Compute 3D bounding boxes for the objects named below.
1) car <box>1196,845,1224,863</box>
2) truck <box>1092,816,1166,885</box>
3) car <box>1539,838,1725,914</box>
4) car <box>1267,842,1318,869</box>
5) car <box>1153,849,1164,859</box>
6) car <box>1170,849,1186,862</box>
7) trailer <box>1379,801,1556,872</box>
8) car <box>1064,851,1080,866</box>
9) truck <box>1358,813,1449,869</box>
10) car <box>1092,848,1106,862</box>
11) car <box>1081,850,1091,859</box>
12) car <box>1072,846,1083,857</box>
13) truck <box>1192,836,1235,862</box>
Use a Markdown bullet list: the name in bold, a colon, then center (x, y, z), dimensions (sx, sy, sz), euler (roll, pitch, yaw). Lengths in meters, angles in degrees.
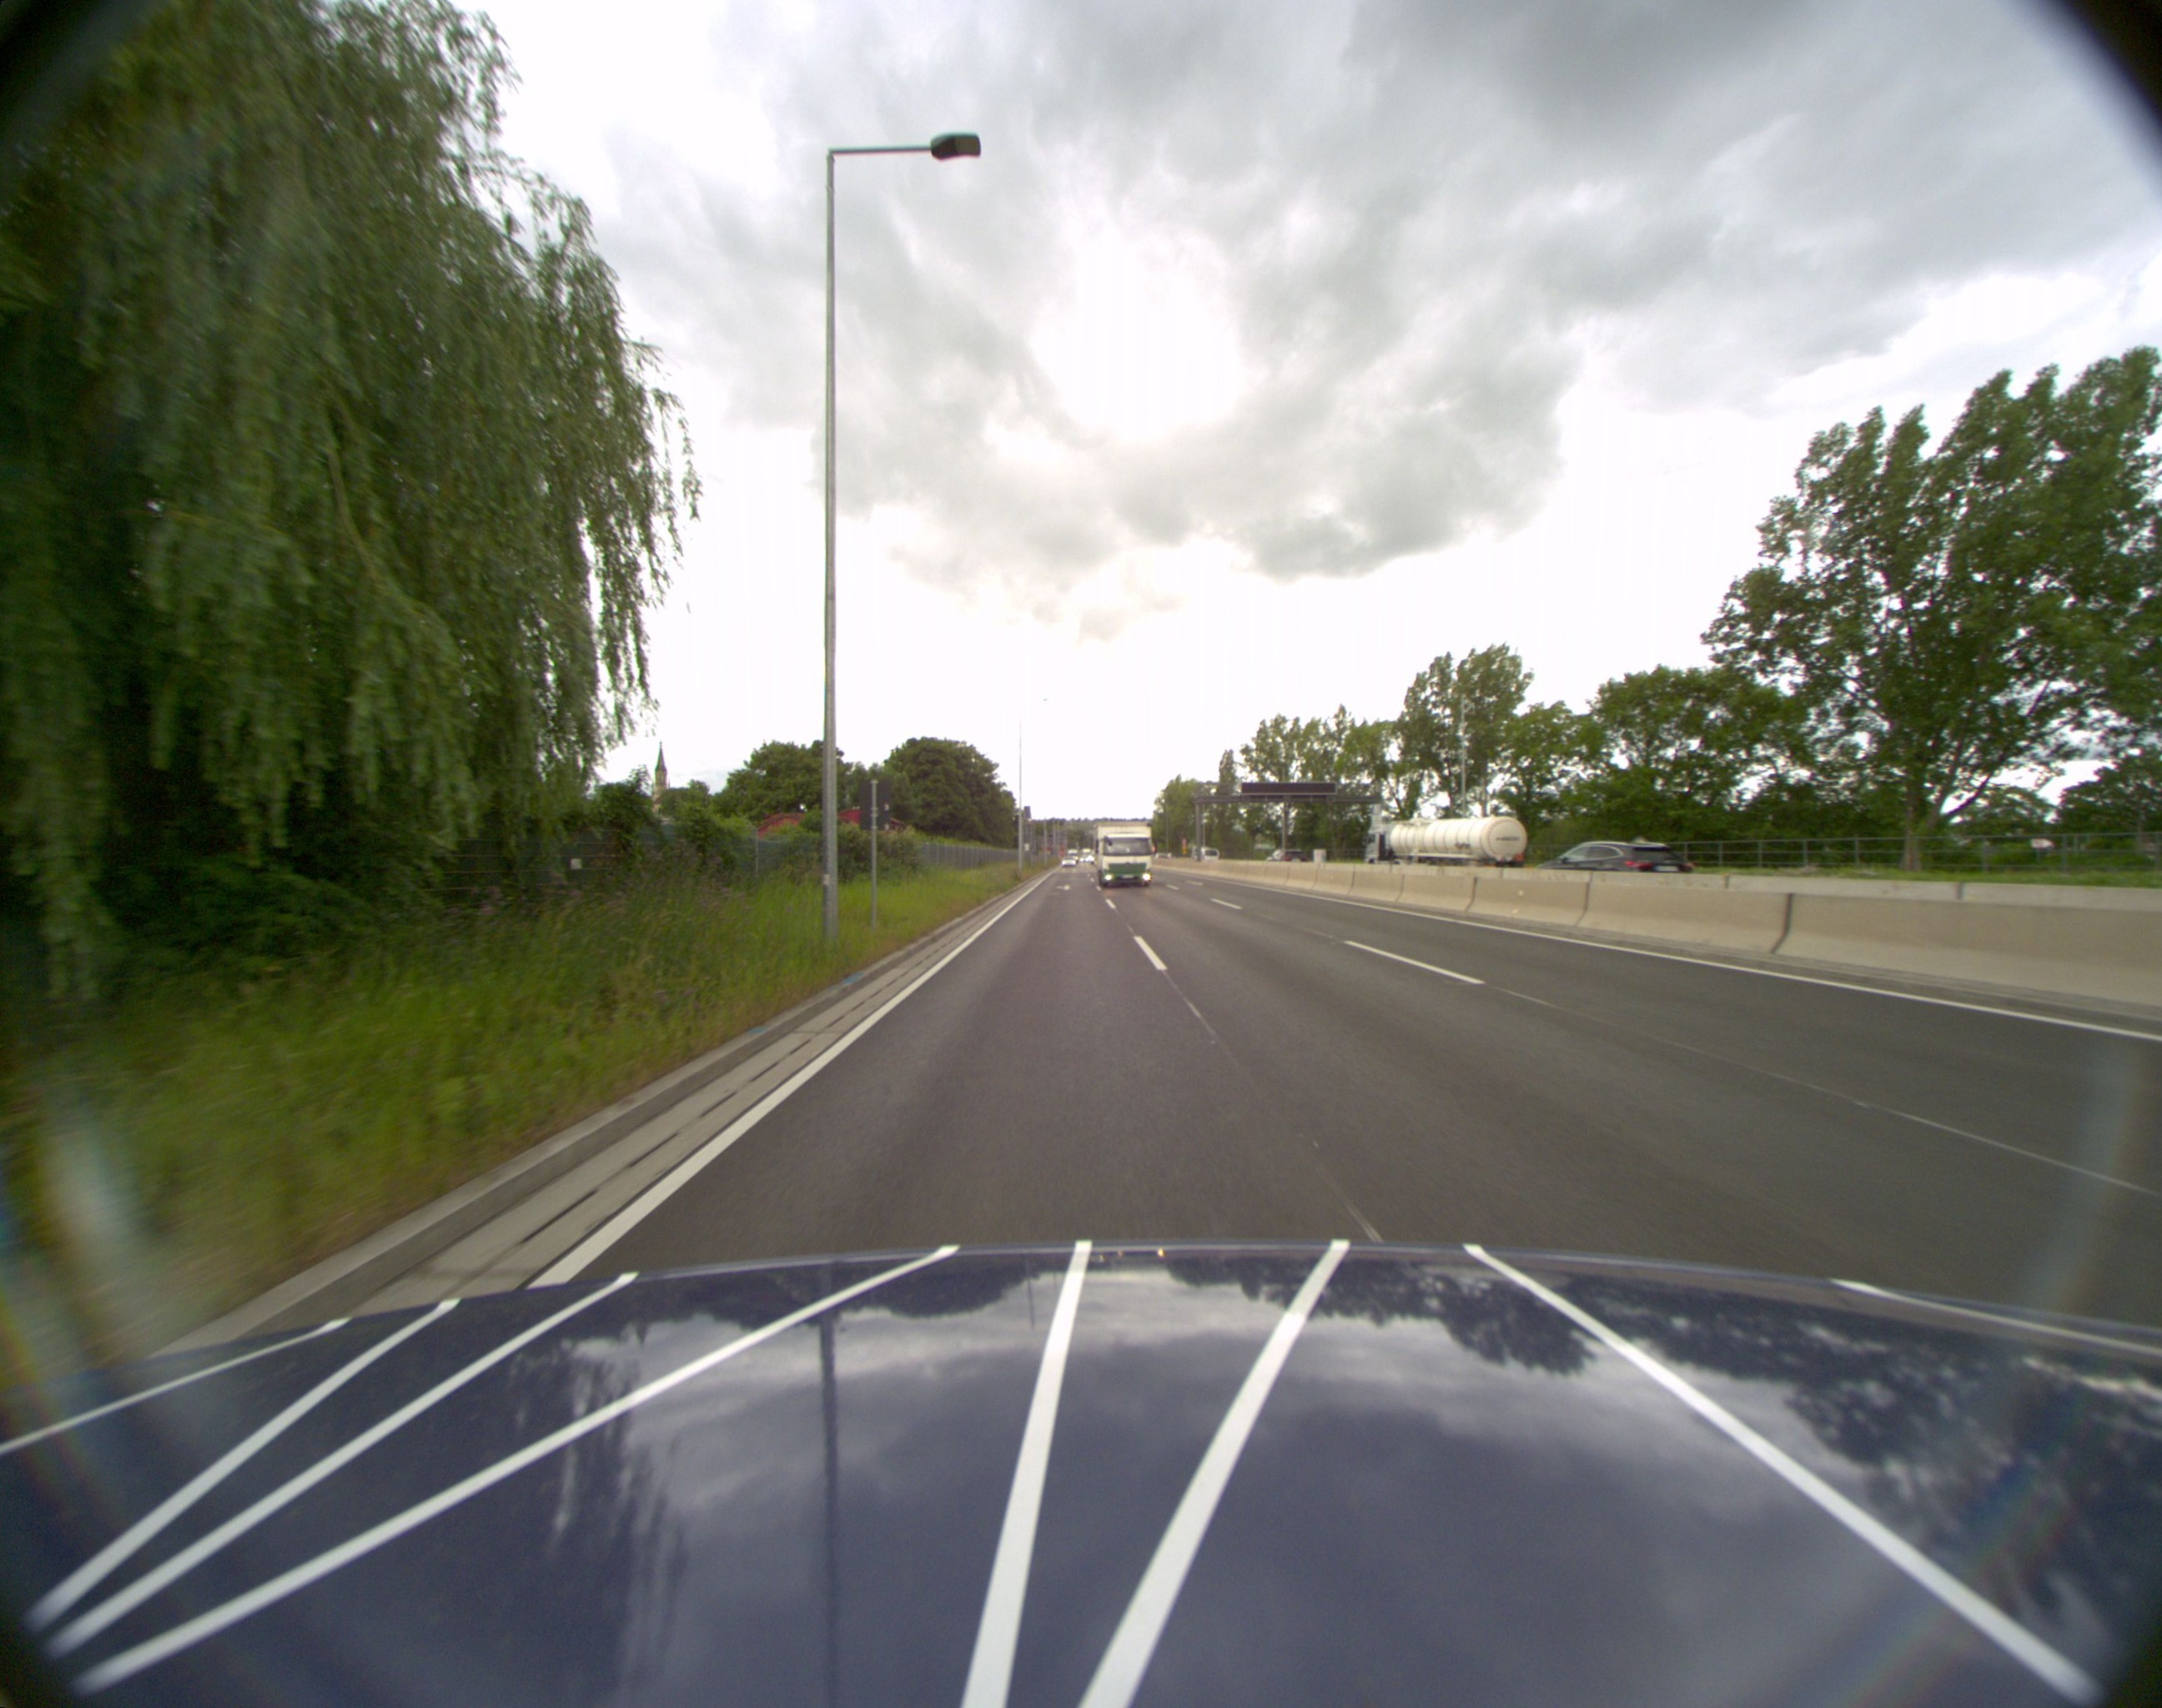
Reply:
- **car**: center (12.773, 0.024, 75.488), dimensions (1.998, 1.608, 4.697), euler (-3, 0, 0)
- **truck**: center (2.270, -0.148, 38.850), dimensions (2.943, 3.064, 8.386), euler (-2, 0, -1)
- **car**: center (14.437, 0.526, 20.239), dimensions (1.998, 1.728, 4.000), euler (-3, 0, 0)
- **car**: center (13.764, 0.084, 49.767), dimensions (1.998, 1.608, 4.697), euler (-3, 0, 0)
- **car**: center (16.738, -0.007, 164.112), dimensions (1.998, 2.002, 4.000), euler (-3, 0, 1)
- **car**: center (14.235, 0.187, 111.836), dimensions (1.821, 1.866, 4.100), euler (-3, 0, 0)
- **trailer**: center (20.314, -0.798, 41.251), dimensions (3.109, 3.201, 11.665), euler (-3, 0, -2)
- **car**: center (-1.155, 0.639, 101.422), dimensions (1.999, 1.849, 4.000), euler (-3, 0, -1)
- **truck**: center (20.027, -0.771, 47.585), dimensions (3.106, 3.200, 5.390), euler (-3, 0, -2)
- **car**: center (2.802, 0.171, 119.390), dimensions (1.999, 2.002, 4.000), euler (-3, 0, -1)
- **car**: center (1.105, 0.129, 173.609), dimensions (1.998, 2.002, 4.000), euler (-3, 0, 0)
- **car**: center (-0.750, -0.389, 147.293), dimensions (1.999, 2.002, 4.000), euler (-3, 0, -1)
- **truck**: center (18.041, -0.618, 104.884), dimensions (2.861, 3.089, 15.883), euler (-3, 0, -1)
